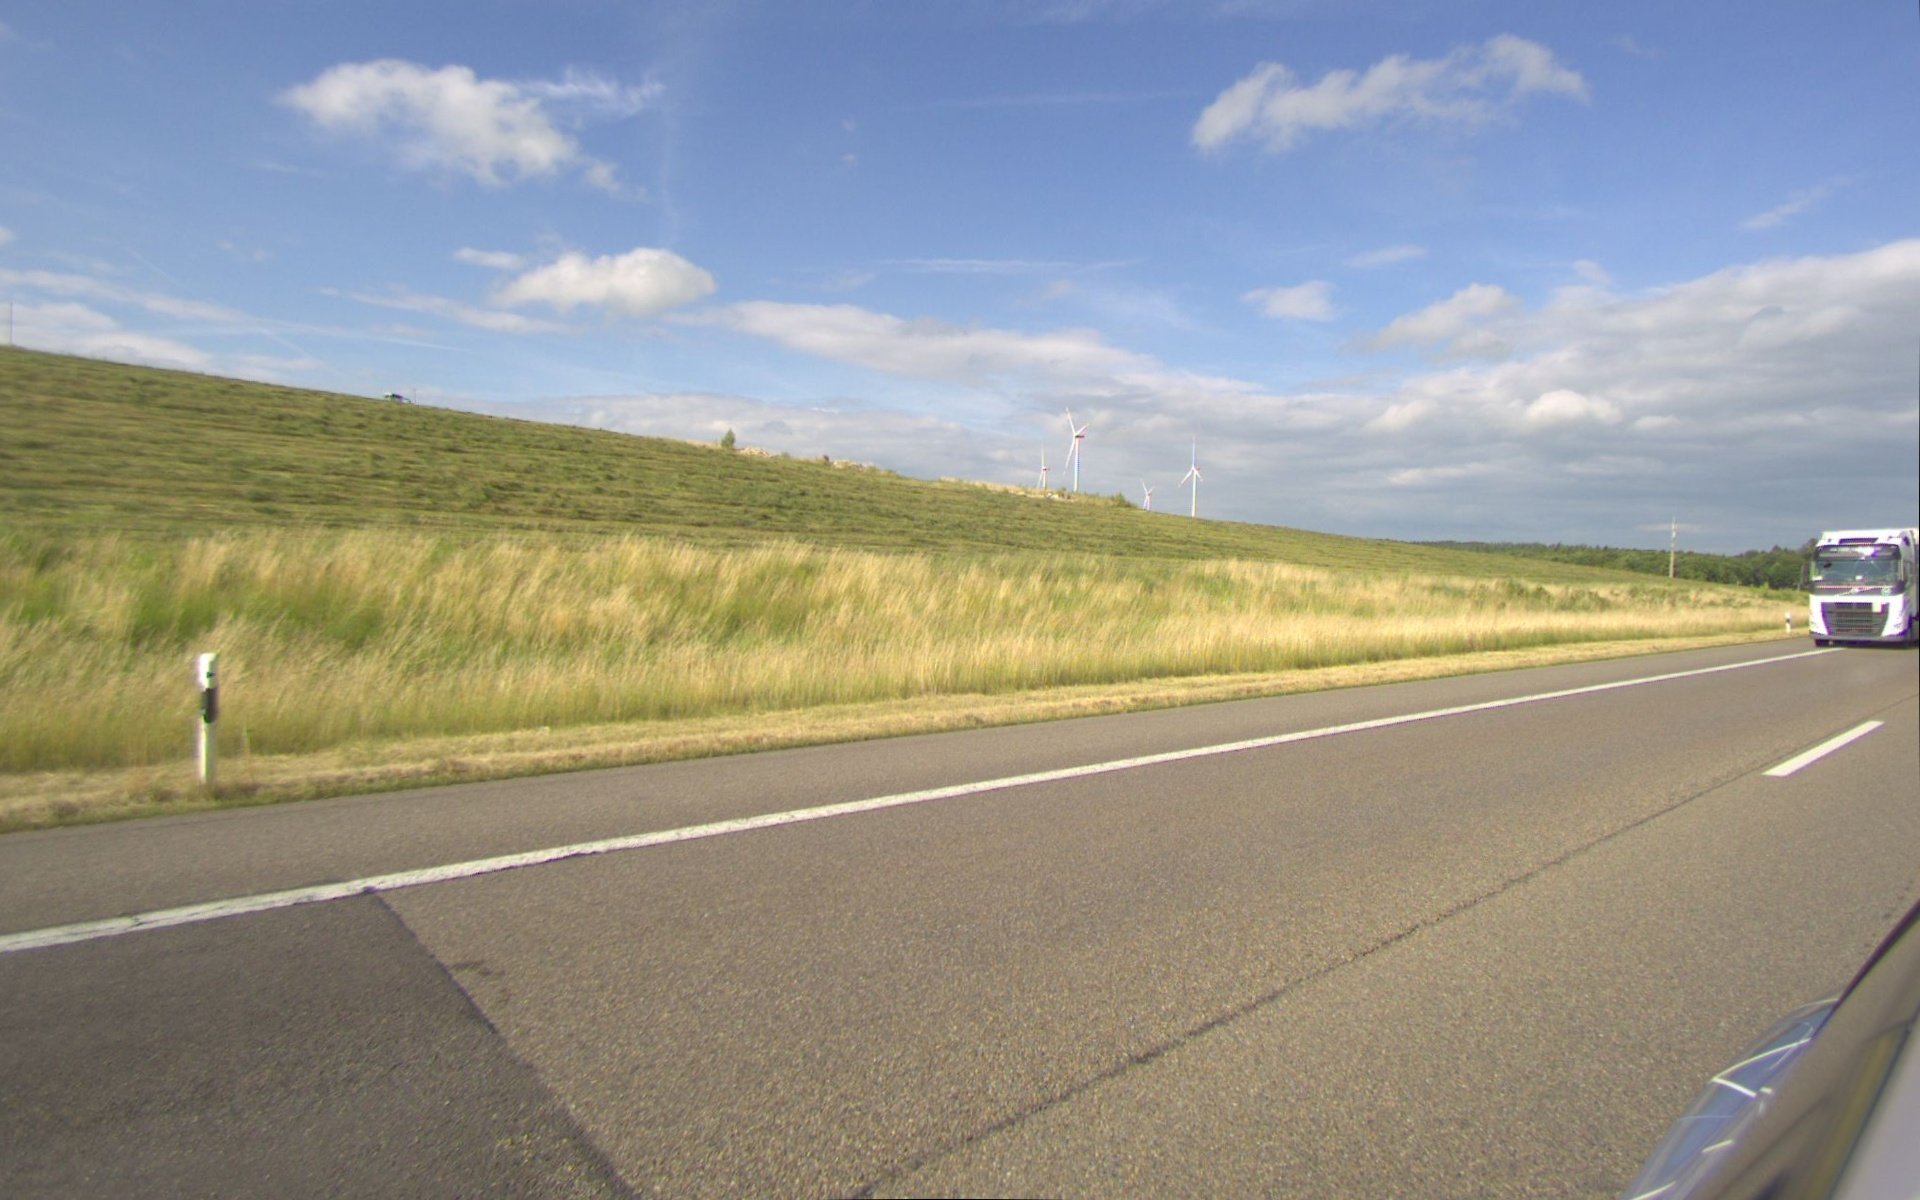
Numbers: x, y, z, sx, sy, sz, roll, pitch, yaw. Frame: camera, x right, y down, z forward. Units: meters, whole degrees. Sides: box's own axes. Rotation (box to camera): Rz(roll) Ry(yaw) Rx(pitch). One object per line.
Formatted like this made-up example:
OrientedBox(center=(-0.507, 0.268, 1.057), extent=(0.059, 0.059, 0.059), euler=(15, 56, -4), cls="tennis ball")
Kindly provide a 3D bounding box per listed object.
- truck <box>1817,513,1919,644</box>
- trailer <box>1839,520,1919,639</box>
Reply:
OrientedBox(center=(31.592, -0.674, 34.518), extent=(6.012, 4.092, 2.605), euler=(0, -1, -41), cls="truck")
OrientedBox(center=(37.454, -0.722, 39.637), extent=(13.459, 4.092, 2.620), euler=(0, -1, -41), cls="trailer")
